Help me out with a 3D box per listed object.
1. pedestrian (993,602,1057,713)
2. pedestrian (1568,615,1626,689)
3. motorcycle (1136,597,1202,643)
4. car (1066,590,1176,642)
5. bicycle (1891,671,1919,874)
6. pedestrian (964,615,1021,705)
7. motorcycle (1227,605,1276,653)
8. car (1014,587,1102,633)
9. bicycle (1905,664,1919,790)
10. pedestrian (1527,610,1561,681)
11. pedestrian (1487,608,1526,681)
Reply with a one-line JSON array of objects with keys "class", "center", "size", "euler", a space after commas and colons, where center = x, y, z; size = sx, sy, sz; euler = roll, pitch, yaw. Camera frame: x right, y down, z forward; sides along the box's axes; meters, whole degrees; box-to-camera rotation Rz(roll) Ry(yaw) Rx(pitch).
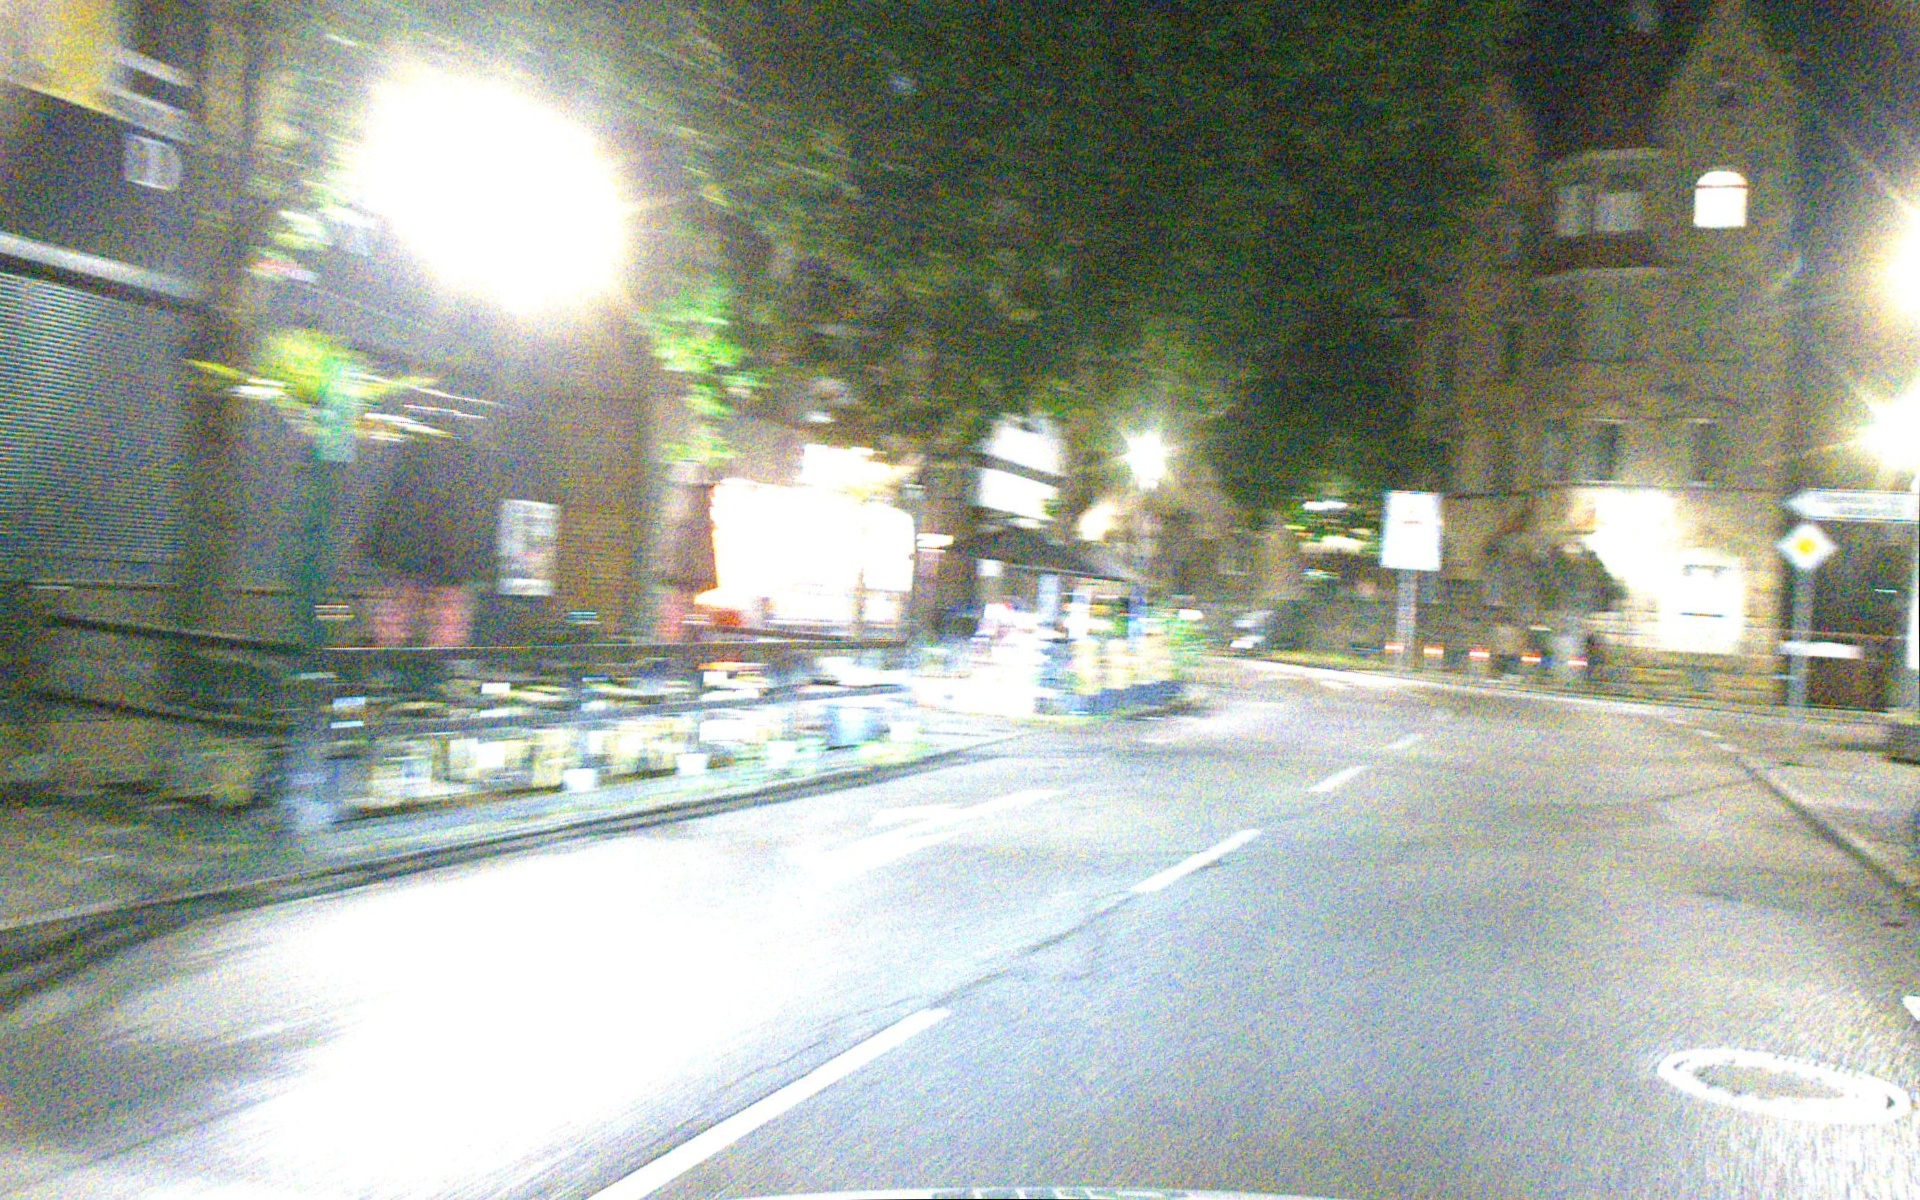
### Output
[{"class": "pedestrian", "center": [0.860, 0.744, 21.785], "size": [0.662, 1.402, 0.577], "euler": [3, 0, 16]}, {"class": "pedestrian", "center": [14.947, 1.218, 38.831], "size": [0.804, 1.659, 0.950], "euler": [4, 0, -45]}, {"class": "motorcycle", "center": [6.899, 0.657, 54.523], "size": [2.034, 1.430, 0.914], "euler": [1, 2, -34]}, {"class": "car", "center": [5.496, 0.526, 56.972], "size": [1.710, 1.527, 4.433], "euler": [3, 1, -25]}, {"class": "bicycle", "center": [6.576, 1.072, 9.655], "size": [1.826, 1.154, 0.725], "euler": [4, 0, 18]}, {"class": "pedestrian", "center": [0.449, 0.808, 22.563], "size": [0.562, 1.184, 0.678], "euler": [3, 0, 16]}, {"class": "motorcycle", "center": [8.749, 0.868, 49.590], "size": [0.746, 1.376, 1.940], "euler": [3, 1, 30]}, {"class": "car", "center": [3.624, 0.350, 61.744], "size": [1.712, 1.479, 3.975], "euler": [3, 1, -22]}, {"class": "bicycle", "center": [9.921, 1.256, 15.429], "size": [1.745, 1.171, 0.760], "euler": [4, 0, 18]}, {"class": "pedestrian", "center": [14.722, 1.132, 41.684], "size": [0.470, 1.738, 0.567], "euler": [3, 0, -23]}, {"class": "pedestrian", "center": [13.412, 1.088, 40.612], "size": [0.500, 1.738, 0.700], "euler": [3, 0, -23]}]
